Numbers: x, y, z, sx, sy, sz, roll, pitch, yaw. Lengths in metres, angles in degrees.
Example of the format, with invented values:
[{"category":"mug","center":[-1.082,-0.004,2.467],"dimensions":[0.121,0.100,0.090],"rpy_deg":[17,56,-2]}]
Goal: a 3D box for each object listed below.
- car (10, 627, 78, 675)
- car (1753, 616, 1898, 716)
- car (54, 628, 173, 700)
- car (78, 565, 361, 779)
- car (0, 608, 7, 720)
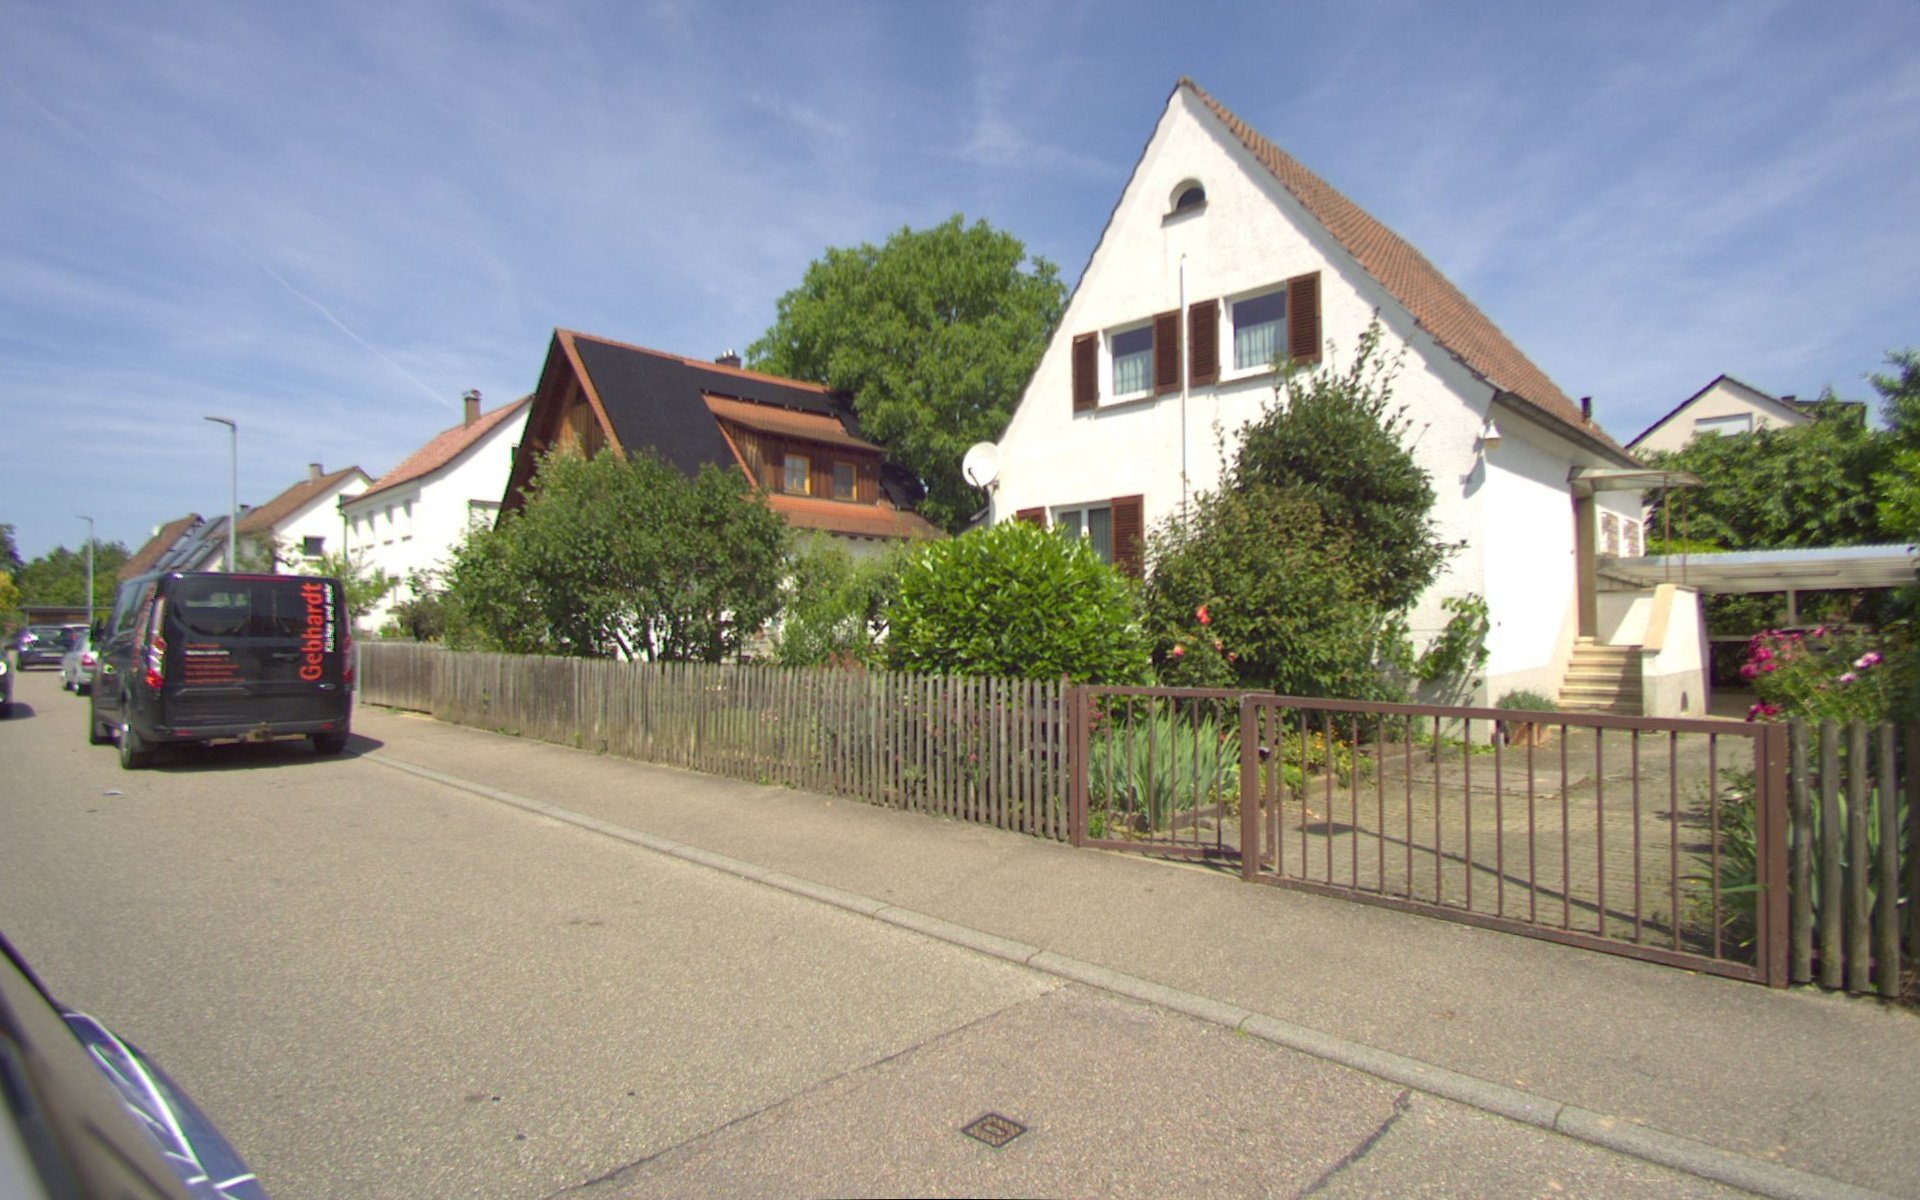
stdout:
[{"category":"car","center":[-30.251,1.641,33.386],"dimensions":[1.579,1.469,3.663],"rpy_deg":[2,-2,-43]},{"category":"car","center":[14.457,1.020,16.924],"dimensions":[1.659,1.441,3.804],"rpy_deg":[-2,-1,41]},{"category":"car","center":[-18.453,1.335,22.027],"dimensions":[3.266,1.453,1.564],"rpy_deg":[-2,-3,43]},{"category":"car","center":[-8.686,0.715,11.691],"dimensions":[4.698,1.966,1.946],"rpy_deg":[-2,-1,45]},{"category":"car","center":[-16.309,0.983,15.828],"dimensions":[4.324,1.660,1.813],"rpy_deg":[-2,-1,44]}]
